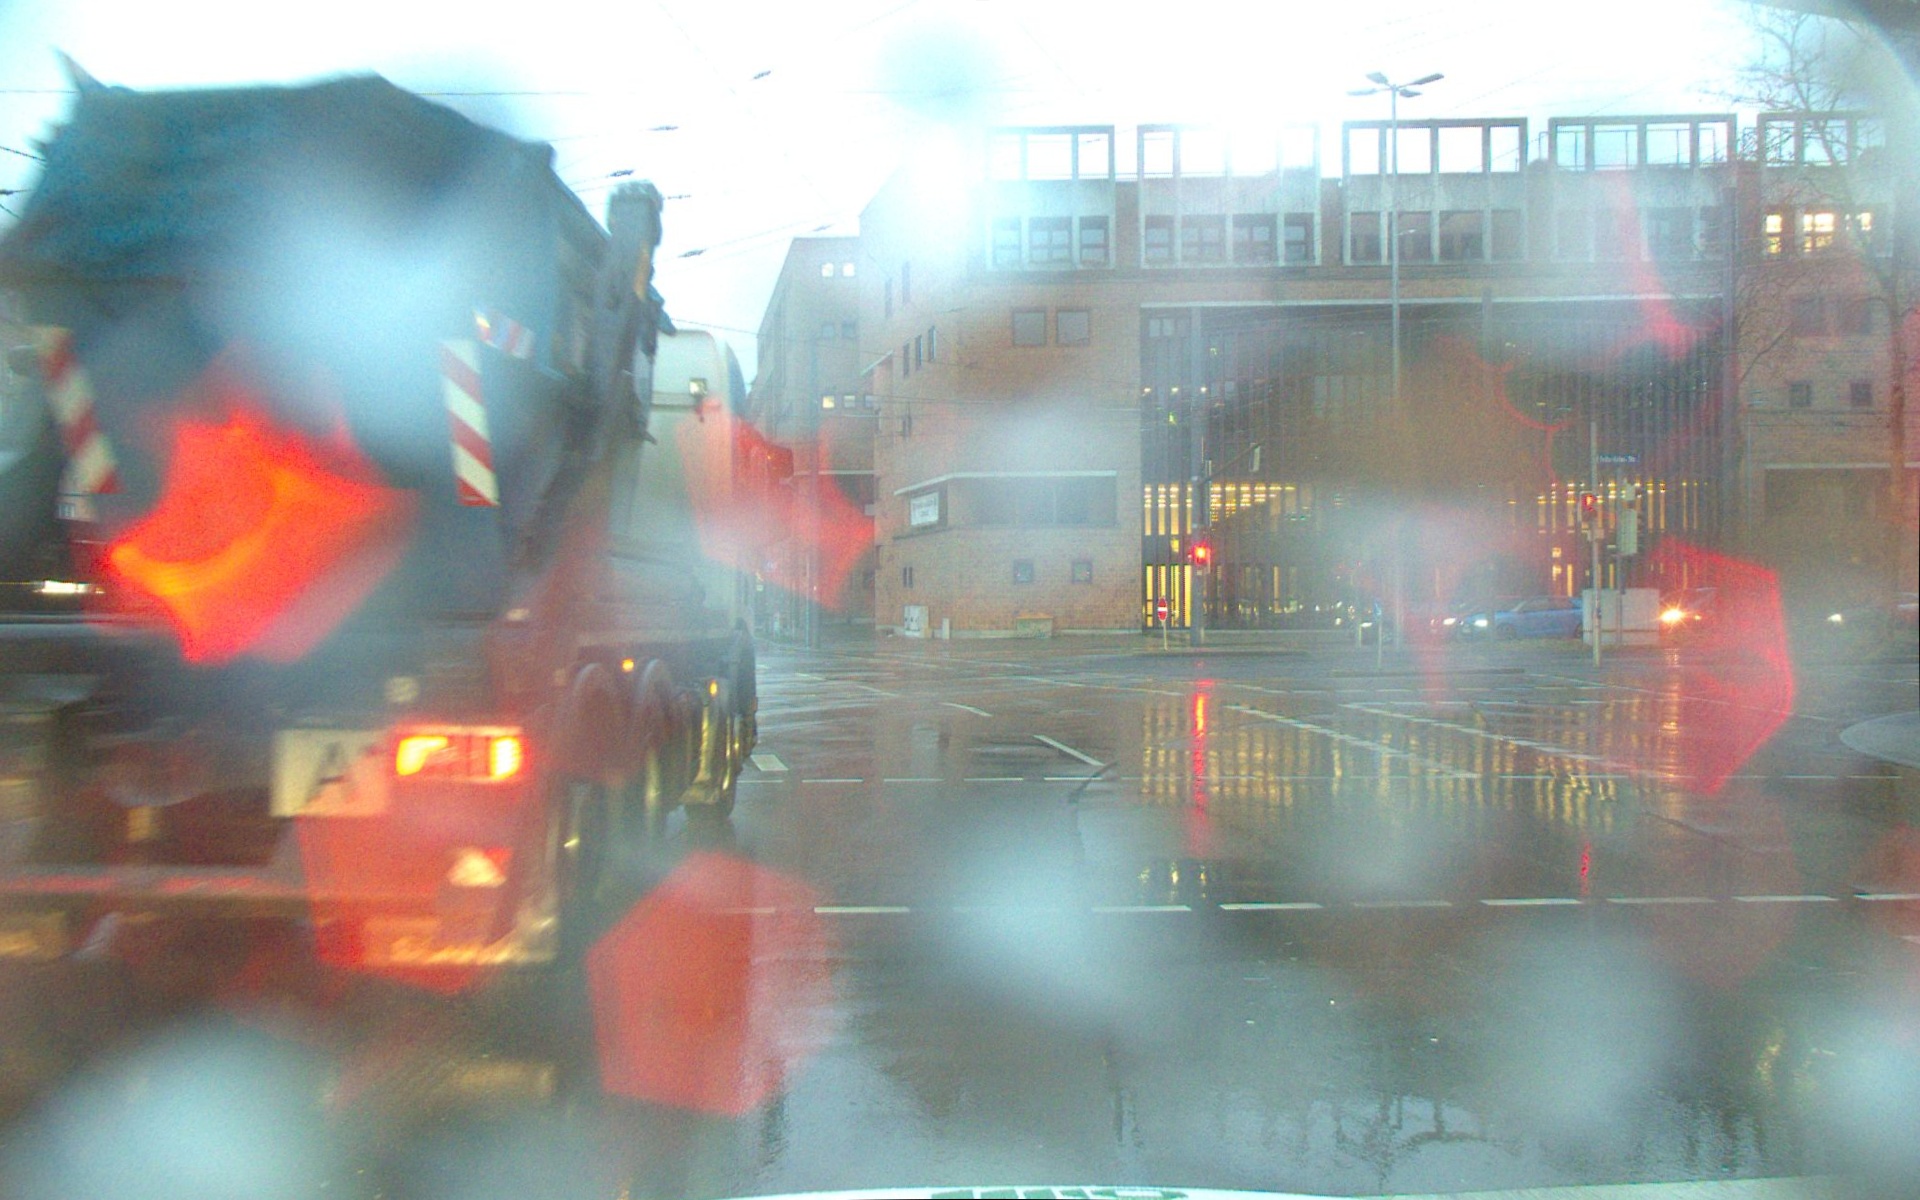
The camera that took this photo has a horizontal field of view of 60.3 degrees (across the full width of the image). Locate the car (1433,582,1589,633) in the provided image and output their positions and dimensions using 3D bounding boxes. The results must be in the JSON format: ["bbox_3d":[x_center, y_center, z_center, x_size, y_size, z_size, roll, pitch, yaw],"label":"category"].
[{"bbox_3d":[15.975,0.208,48.062,3.910,1.284,1.846,-1,4,-7],"label":"car"}]

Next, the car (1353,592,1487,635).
[{"bbox_3d":[15.537,0.450,55.969,3.909,1.333,1.998,-1,0,-5],"label":"car"}]

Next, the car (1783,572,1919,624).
[{"bbox_3d":[29.331,-0.079,54.140,3.910,1.530,1.846,-1,4,-7],"label":"car"}]

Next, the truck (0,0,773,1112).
[{"bbox_3d":[-2.734,-0.272,8.912,2.782,3.697,7.524,-1,0,-2],"label":"truck"}]

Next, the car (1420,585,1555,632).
[{"bbox_3d":[16.601,0.255,52.154,3.649,1.284,1.846,-1,4,-7],"label":"car"}]

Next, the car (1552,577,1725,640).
[{"bbox_3d":[18.228,0.205,44.517,3.910,1.530,1.846,-1,4,-7],"label":"car"}]

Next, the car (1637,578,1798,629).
[{"bbox_3d":[22.346,0.092,48.867,3.910,1.310,1.846,-1,4,-7],"label":"car"}]
